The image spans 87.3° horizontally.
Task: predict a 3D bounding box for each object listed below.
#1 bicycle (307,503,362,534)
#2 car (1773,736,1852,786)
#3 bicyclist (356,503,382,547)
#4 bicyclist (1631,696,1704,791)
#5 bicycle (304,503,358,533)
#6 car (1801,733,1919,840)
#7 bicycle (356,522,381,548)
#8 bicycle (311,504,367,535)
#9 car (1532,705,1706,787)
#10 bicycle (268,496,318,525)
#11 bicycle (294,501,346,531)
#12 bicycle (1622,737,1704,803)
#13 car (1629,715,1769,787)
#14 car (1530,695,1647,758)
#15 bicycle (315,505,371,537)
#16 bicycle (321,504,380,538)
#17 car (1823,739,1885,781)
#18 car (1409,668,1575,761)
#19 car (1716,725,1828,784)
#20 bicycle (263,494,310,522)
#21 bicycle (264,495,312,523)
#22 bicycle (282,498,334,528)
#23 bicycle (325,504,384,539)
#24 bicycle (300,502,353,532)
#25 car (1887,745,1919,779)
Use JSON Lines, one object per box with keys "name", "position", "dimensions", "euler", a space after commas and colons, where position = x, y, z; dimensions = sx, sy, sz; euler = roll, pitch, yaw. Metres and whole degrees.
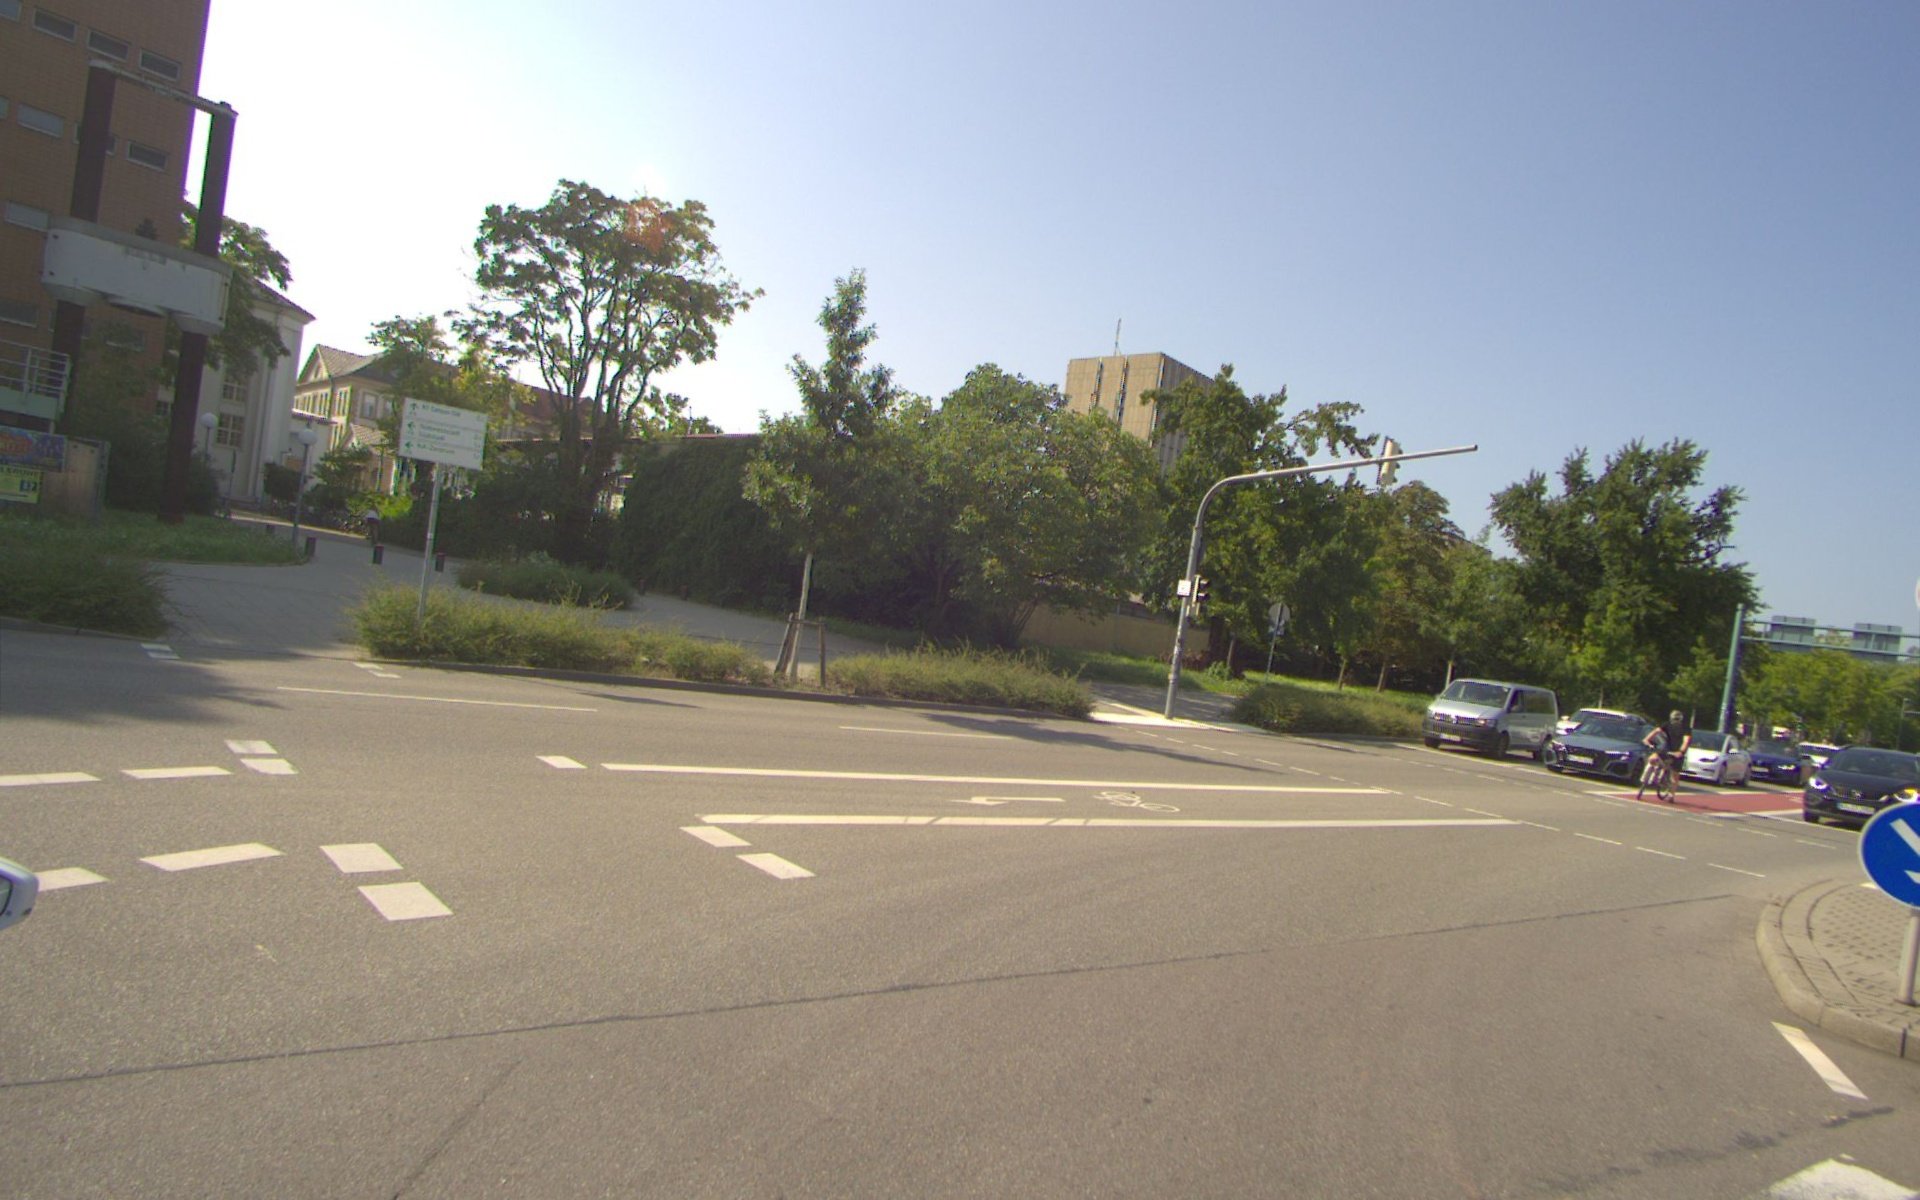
{"name": "bicycle", "position": [-35.683, -4.636, 57.405], "dimensions": [2.420, 1.248, 0.712], "euler": [11, -1, -40]}
{"name": "car", "position": [34.216, 6.452, 40.343], "dimensions": [4.271, 1.524, 1.908], "euler": [9, 0, -44]}
{"name": "bicyclist", "position": [-23.523, -2.981, 40.041], "dimensions": [0.646, 1.621, 0.910], "euler": [7, 1, -36]}
{"name": "bicyclist", "position": [13.514, 2.734, 19.219], "dimensions": [0.869, 1.655, 0.740], "euler": [8, 1, -40]}
{"name": "bicycle", "position": [-36.302, -4.733, 58.080], "dimensions": [2.420, 1.253, 0.712], "euler": [11, -1, -40]}
{"name": "car", "position": [18.191, 3.620, 19.443], "dimensions": [4.675, 1.597, 1.835], "euler": [9, -2, -37]}
{"name": "bicycle", "position": [-23.509, -2.575, 39.978], "dimensions": [0.669, 0.891, 1.386], "euler": [7, 1, -36]}
{"name": "bicycle", "position": [-34.533, -4.472, 55.978], "dimensions": [2.420, 1.237, 0.712], "euler": [11, -1, -40]}
{"name": "car", "position": [15.722, 3.497, 23.906], "dimensions": [4.882, 1.417, 1.891], "euler": [9, 0, -38]}
{"name": "bicycle", "position": [-42.125, -5.634, 63.521], "dimensions": [2.420, 1.296, 0.712], "euler": [11, -1, -40]}
{"name": "bicycle", "position": [-38.106, -4.997, 59.938], "dimensions": [2.420, 1.296, 0.712], "euler": [11, -1, -40]}
{"name": "bicycle", "position": [13.458, 3.246, 19.247], "dimensions": [1.762, 1.065, 0.761], "euler": [8, 1, -41]}
{"name": "car", "position": [21.058, 4.309, 28.615], "dimensions": [4.401, 1.524, 1.979], "euler": [9, 0, -38]}
{"name": "car", "position": [19.992, 4.041, 31.966], "dimensions": [3.937, 1.524, 1.791], "euler": [9, 0, -38]}
{"name": "bicycle", "position": [-33.725, -4.331, 55.022], "dimensions": [2.420, 1.237, 0.712], "euler": [11, -1, -40]}
{"name": "bicycle", "position": [-32.145, -4.158, 53.071], "dimensions": [2.420, 1.333, 0.712], "euler": [11, -1, -40]}
{"name": "car", "position": [44.853, 8.005, 50.441], "dimensions": [4.271, 1.680, 1.908], "euler": [9, 0, -44]}
{"name": "car", "position": [14.093, 3.067, 26.537], "dimensions": [4.935, 1.897, 1.827], "euler": [9, 0, -38]}
{"name": "car", "position": [27.824, 5.299, 34.452], "dimensions": [4.262, 1.524, 1.978], "euler": [9, 0, -39]}
{"name": "bicycle", "position": [-44.326, -6.038, 66.228], "dimensions": [2.420, 1.295, 0.712], "euler": [11, -1, -40]}
{"name": "bicycle", "position": [-43.770, -5.917, 65.529], "dimensions": [2.420, 1.277, 0.712], "euler": [11, -1, -40]}
{"name": "bicycle", "position": [-39.178, -5.213, 60.436], "dimensions": [2.420, 1.296, 0.712], "euler": [11, -1, -40]}
{"name": "bicycle", "position": [-31.423, -4.056, 52.217], "dimensions": [2.420, 1.333, 0.712], "euler": [11, -1, -40]}
{"name": "bicycle", "position": [-37.025, -4.858, 58.819], "dimensions": [2.420, 1.243, 0.712], "euler": [11, -1, -40]}
{"name": "car", "position": [56.886, 9.729, 60.033], "dimensions": [4.271, 1.680, 1.908], "euler": [9, 0, -44]}
